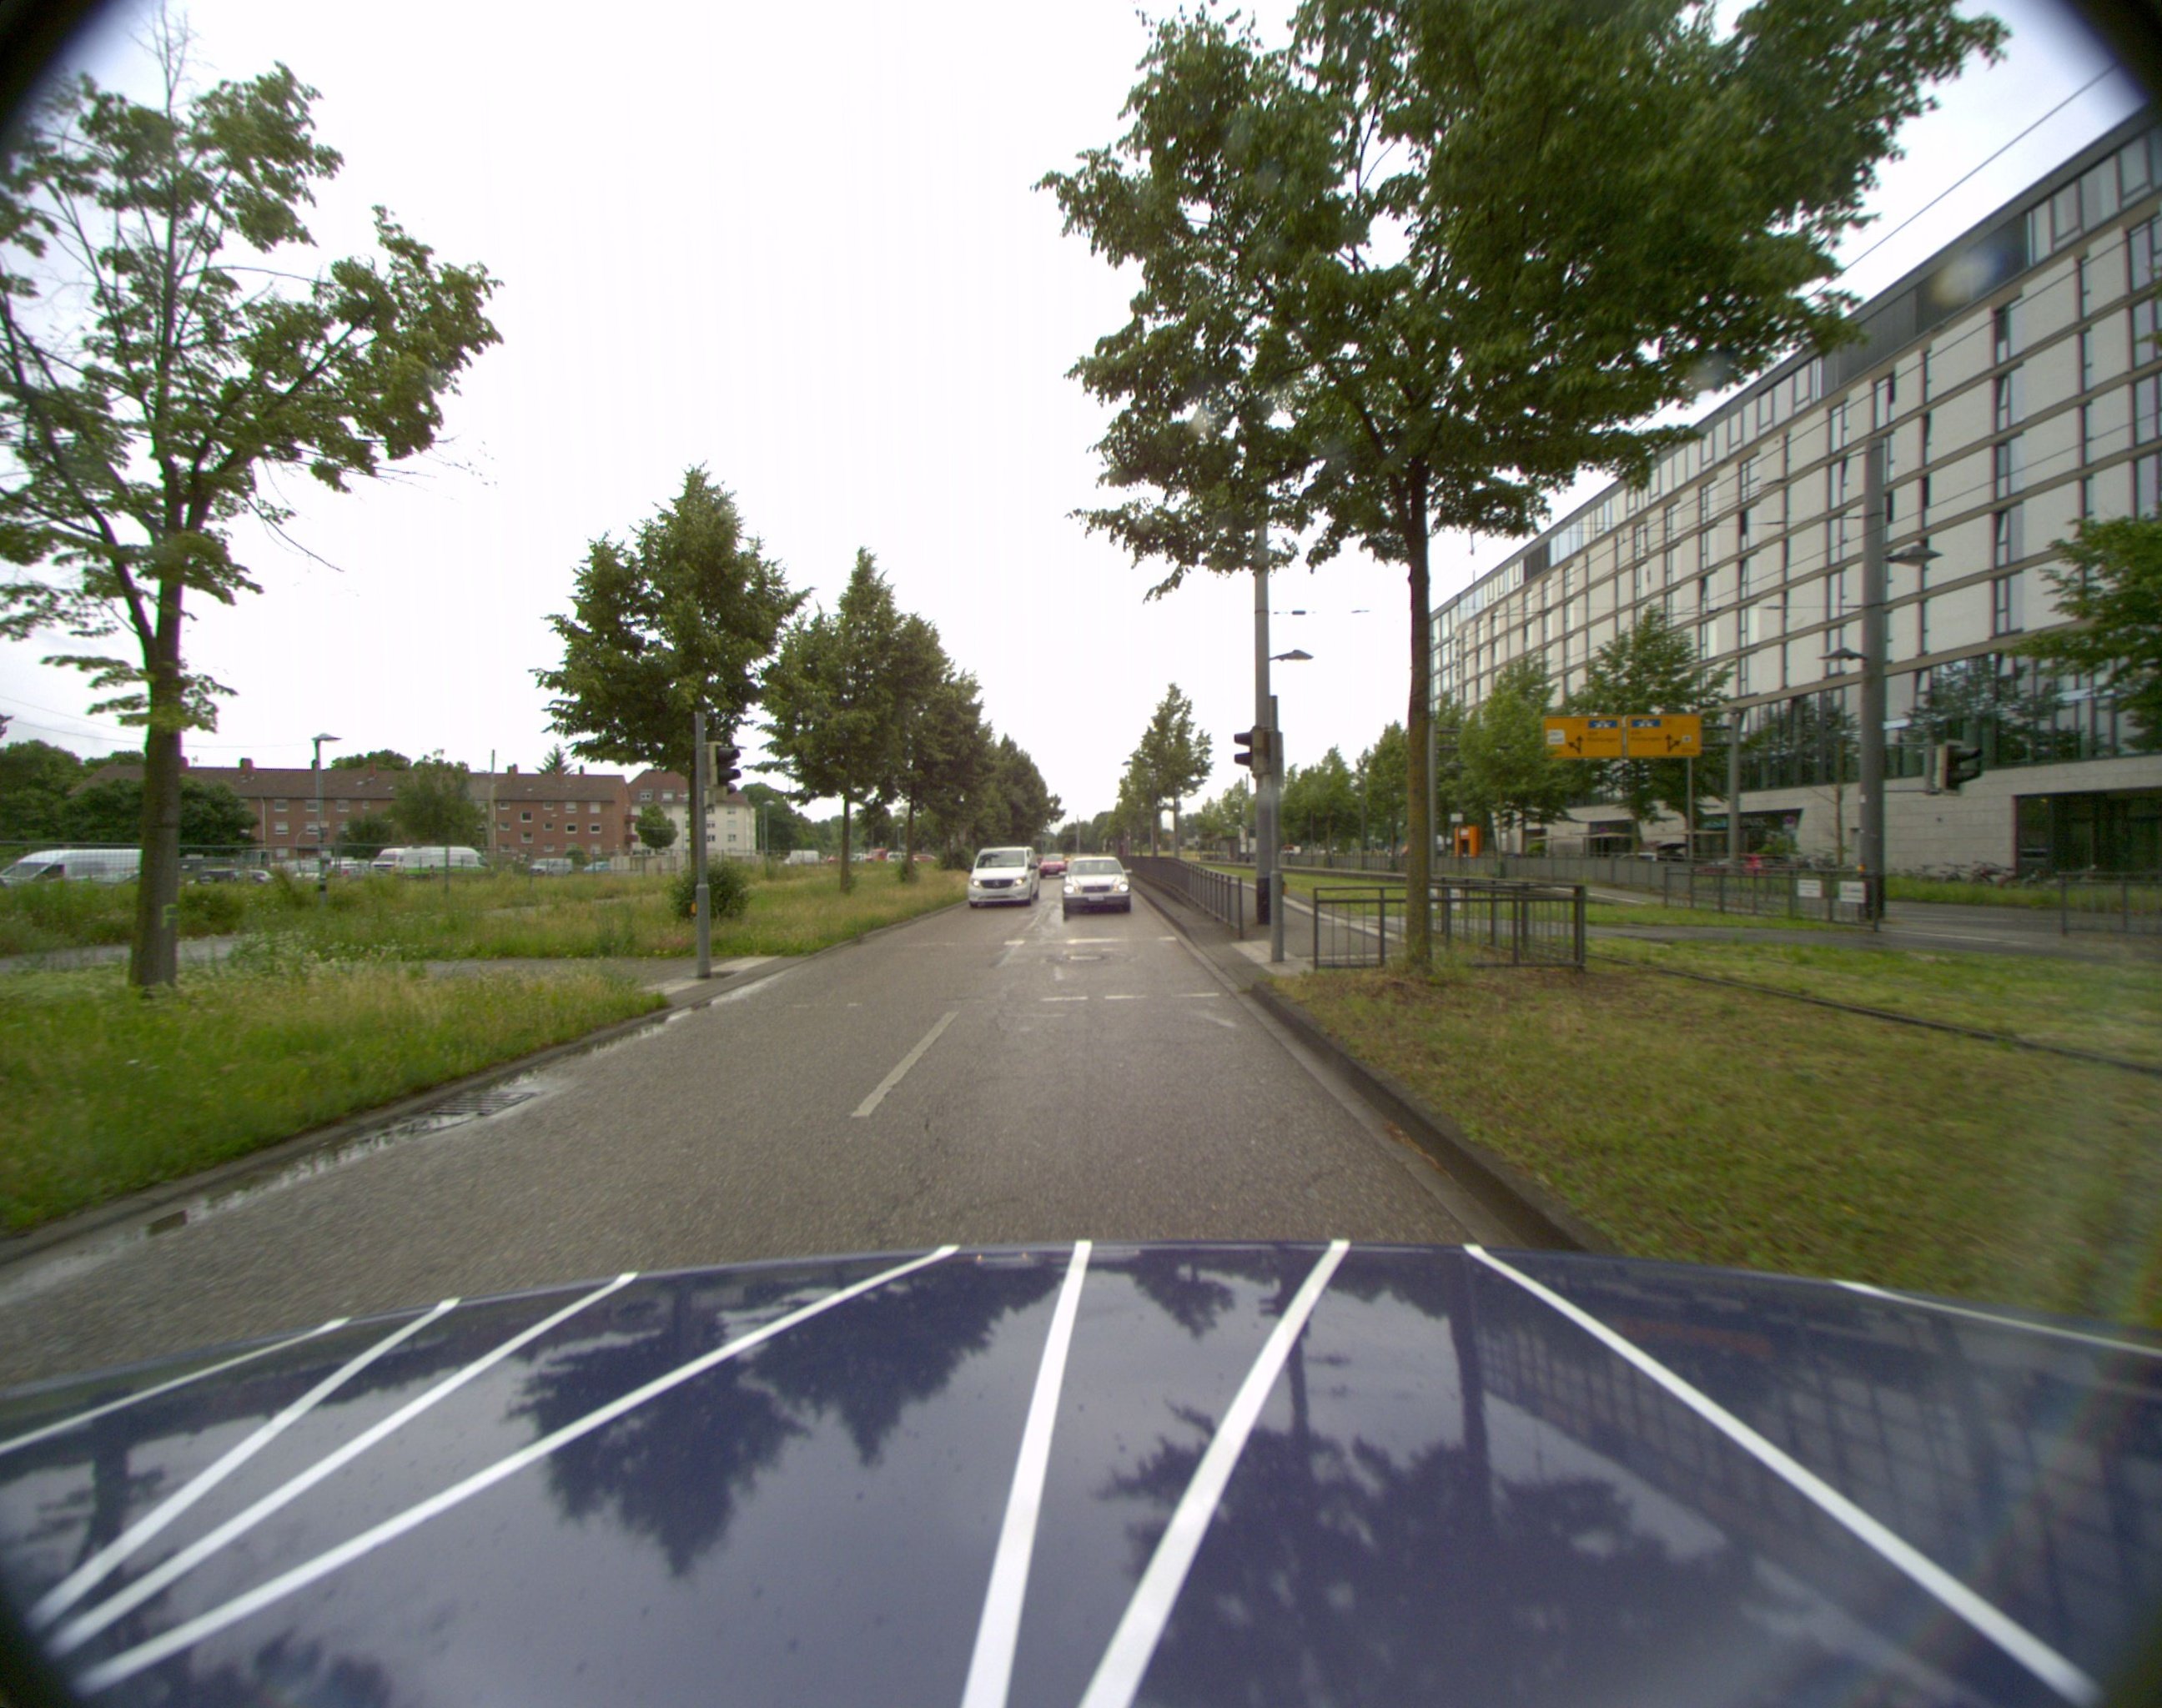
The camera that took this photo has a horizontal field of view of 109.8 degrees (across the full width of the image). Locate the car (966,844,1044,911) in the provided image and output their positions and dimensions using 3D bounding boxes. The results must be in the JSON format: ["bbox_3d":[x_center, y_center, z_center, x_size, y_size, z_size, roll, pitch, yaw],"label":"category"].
[{"bbox_3d":[-2.393,0.670,25.162,1.972,1.968,5.091,-1,1,1],"label":"car"}]

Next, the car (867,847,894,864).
[{"bbox_3d":[-28.087,0.216,106.629,1.996,2.297,4.004,-1,0,14],"label":"car"}]

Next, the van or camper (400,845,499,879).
[{"bbox_3d":[-46.254,0.534,55.879,2.208,2.294,6.147,-1,0,-1],"label":"van or camper"}]

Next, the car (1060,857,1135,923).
[{"bbox_3d":[0.455,0.857,20.106,1.738,1.451,4.607,-1,0,2],"label":"car"}]

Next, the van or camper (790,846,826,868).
[{"bbox_3d":[-40.590,0.424,113.076,2.343,3.017,5.515,-2,1,12],"label":"van or camper"}]

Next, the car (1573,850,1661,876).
[{"bbox_3d":[28.631,0.445,40.784,1.998,1.281,4.070,-1,1,3],"label":"car"}]

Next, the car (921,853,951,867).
[{"bbox_3d":[-20.089,0.843,105.442,3.804,1.696,1.679,-3,1,-1],"label":"car"}]

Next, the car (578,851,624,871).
[{"bbox_3d":[-54.277,0.759,86.042,2.278,2.207,4.758,-1,0,-3],"label":"car"}]

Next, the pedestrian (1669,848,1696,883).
[{"bbox_3d":[29.991,0.567,37.908,0.712,1.682,0.793,-1,1,4],"label":"pedestrian"}]

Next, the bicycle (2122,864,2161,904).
[{"bbox_3d":[29.088,0.784,20.134,1.983,1.029,0.696,-1,1,3],"label":"bicycle"}]

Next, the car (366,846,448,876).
[{"bbox_3d":[-52.822,0.554,59.714,2.278,2.207,4.758,-1,0,-3],"label":"car"}]

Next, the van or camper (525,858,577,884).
[{"bbox_3d":[-53.292,1.655,76.524,1.919,2.521,5.258,-2,0,-6],"label":"van or camper"}]

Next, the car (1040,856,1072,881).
[{"bbox_3d":[-1.661,0.943,51.521,1.799,1.603,4.246,-1,0,2],"label":"car"}]

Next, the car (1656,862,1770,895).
[{"bbox_3d":[28.139,1.056,33.995,1.998,1.281,3.860,-1,0,3],"label":"car"}]

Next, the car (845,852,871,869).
[{"bbox_3d":[-31.517,0.929,107.437,1.997,2.297,4.003,-1,0,10],"label":"car"}]

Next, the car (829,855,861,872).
[{"bbox_3d":[-33.951,1.337,109.482,2.195,2.297,5.450,-1,0,10],"label":"car"}]

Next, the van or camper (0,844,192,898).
[{"bbox_3d":[-51.853,0.832,39.900,2.783,2.521,6.418,-1,0,-1],"label":"van or camper"}]

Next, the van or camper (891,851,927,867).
[{"bbox_3d":[-22.535,0.649,99.904,4.334,2.002,1.860,-2,0,-5],"label":"van or camper"}]

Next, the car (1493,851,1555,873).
[{"bbox_3d":[29.992,0.521,51.568,1.998,1.281,3.859,-1,1,1],"label":"car"}]

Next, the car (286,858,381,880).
[{"bbox_3d":[-52.587,1.025,53.592,2.096,1.344,4.758,-1,0,-3],"label":"car"}]

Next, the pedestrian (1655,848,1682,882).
[{"bbox_3d":[29.204,0.545,37.759,0.712,1.682,0.793,-1,1,4],"label":"pedestrian"}]
